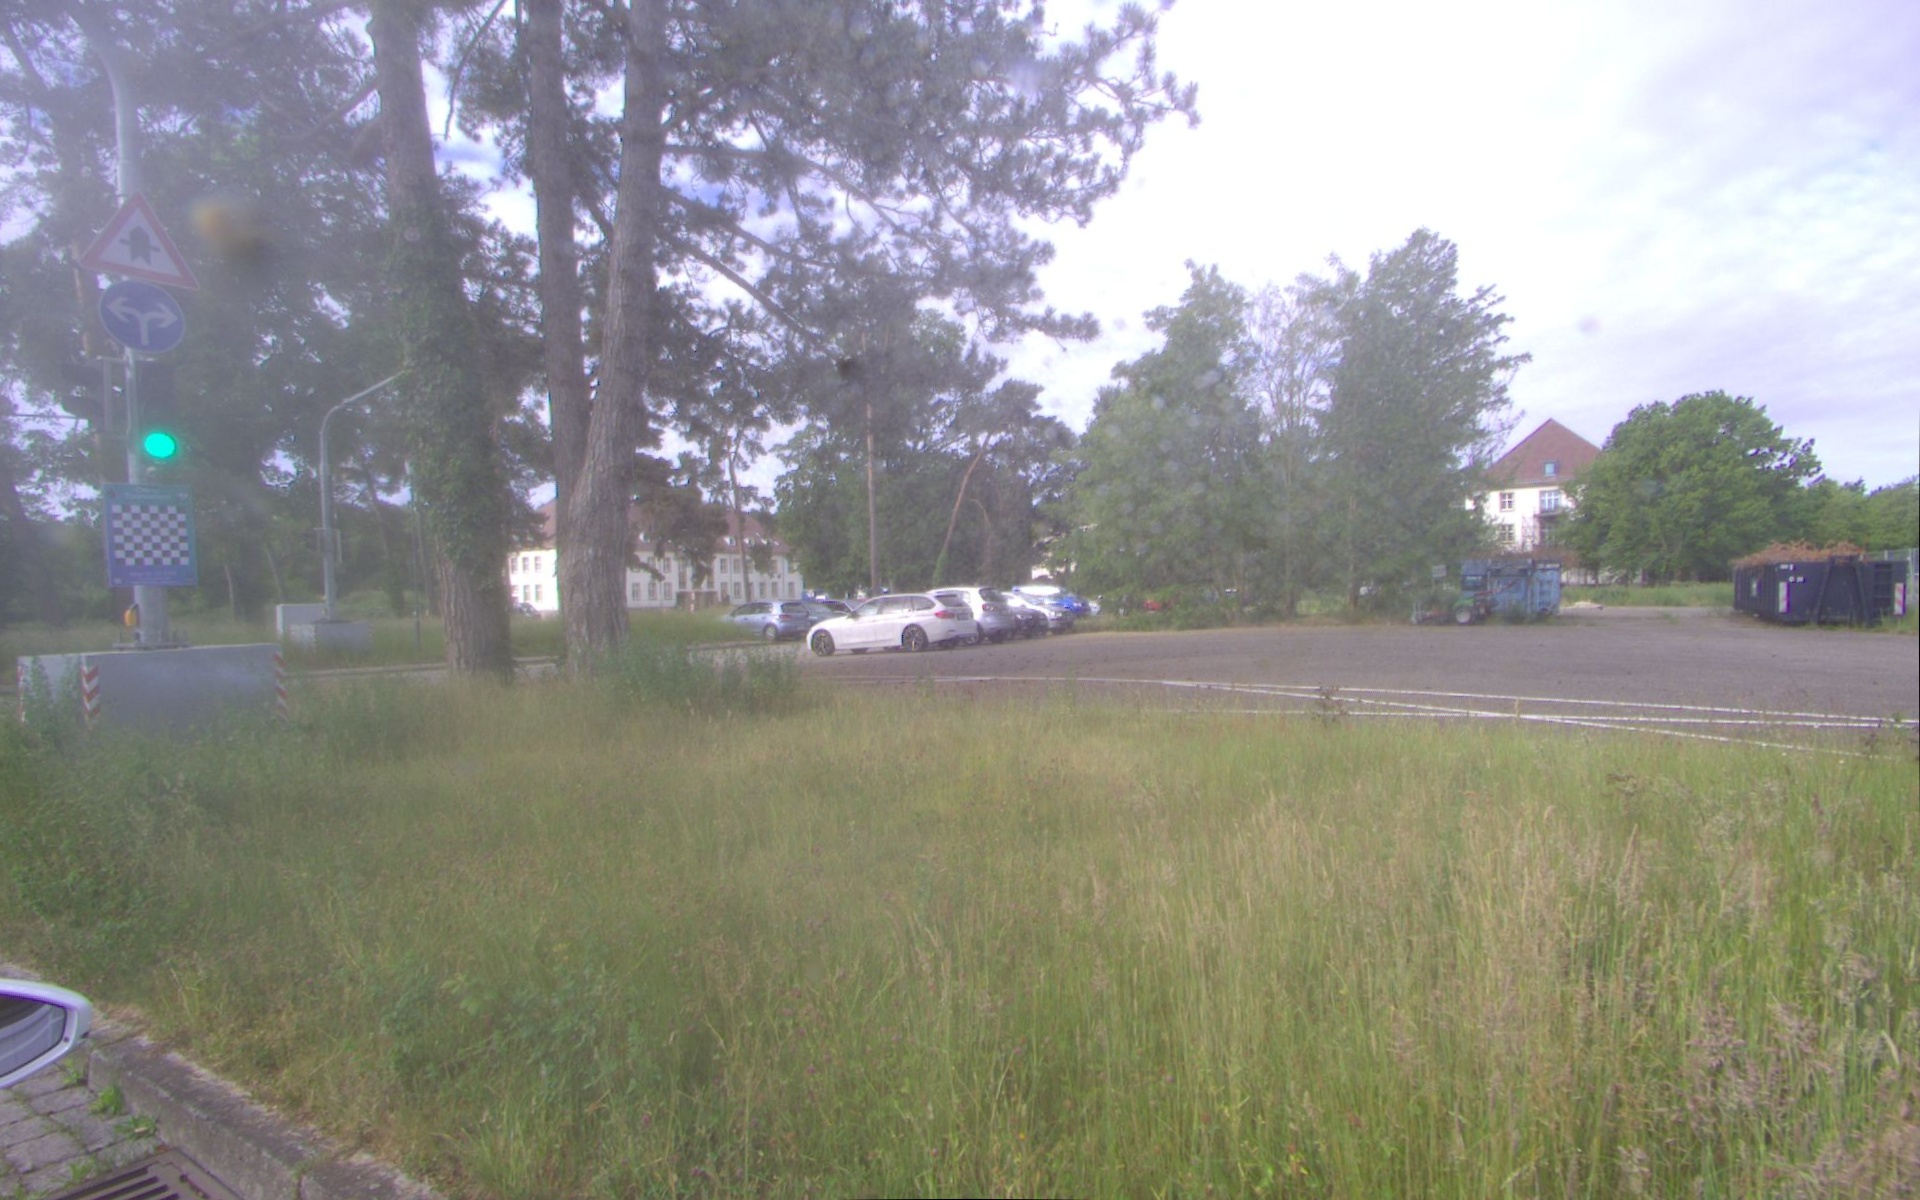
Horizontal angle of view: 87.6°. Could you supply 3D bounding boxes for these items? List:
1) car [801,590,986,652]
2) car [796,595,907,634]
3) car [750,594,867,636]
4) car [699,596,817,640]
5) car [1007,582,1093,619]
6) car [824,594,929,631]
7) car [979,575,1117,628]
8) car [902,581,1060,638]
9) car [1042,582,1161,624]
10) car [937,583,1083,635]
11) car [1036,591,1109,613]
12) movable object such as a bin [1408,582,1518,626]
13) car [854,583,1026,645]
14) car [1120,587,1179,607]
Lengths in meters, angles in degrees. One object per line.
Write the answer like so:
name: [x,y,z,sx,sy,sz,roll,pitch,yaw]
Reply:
car: [-1.700,0.544,25.244,4.380,1.434,1.750,-2,0,29]
car: [-4.537,0.608,41.625,4.380,1.544,1.750,-1,1,29]
car: [-5.965,0.590,39.383,4.379,1.544,1.750,-1,1,28]
car: [-7.606,0.672,37.539,4.386,1.545,1.747,-1,1,34]
car: [5.104,0.026,57.114,4.586,1.994,1.750,-1,1,29]
car: [-3.700,0.547,44.090,4.380,1.544,1.750,-1,1,29]
car: [3.042,0.062,34.761,4.380,1.709,1.864,-1,1,29]
car: [0.601,0.299,30.096,4.380,1.598,1.864,-1,1,29]
car: [5.685,0.126,40.406,4.380,1.598,1.864,-1,1,29]
car: [1.609,0.296,32.613,4.380,1.598,1.864,-1,1,29]
car: [6.644,0.121,59.323,3.941,1.226,1.654,-1,1,31]
movable object such as a bin: [13.230,0.085,26.345,2.505,1.098,1.060,1,2,31]
car: [-0.577,0.381,27.582,4.380,1.598,1.864,-1,1,29]
car: [14.000,-0.217,74.057,3.937,1.373,1.656,-1,1,27]
